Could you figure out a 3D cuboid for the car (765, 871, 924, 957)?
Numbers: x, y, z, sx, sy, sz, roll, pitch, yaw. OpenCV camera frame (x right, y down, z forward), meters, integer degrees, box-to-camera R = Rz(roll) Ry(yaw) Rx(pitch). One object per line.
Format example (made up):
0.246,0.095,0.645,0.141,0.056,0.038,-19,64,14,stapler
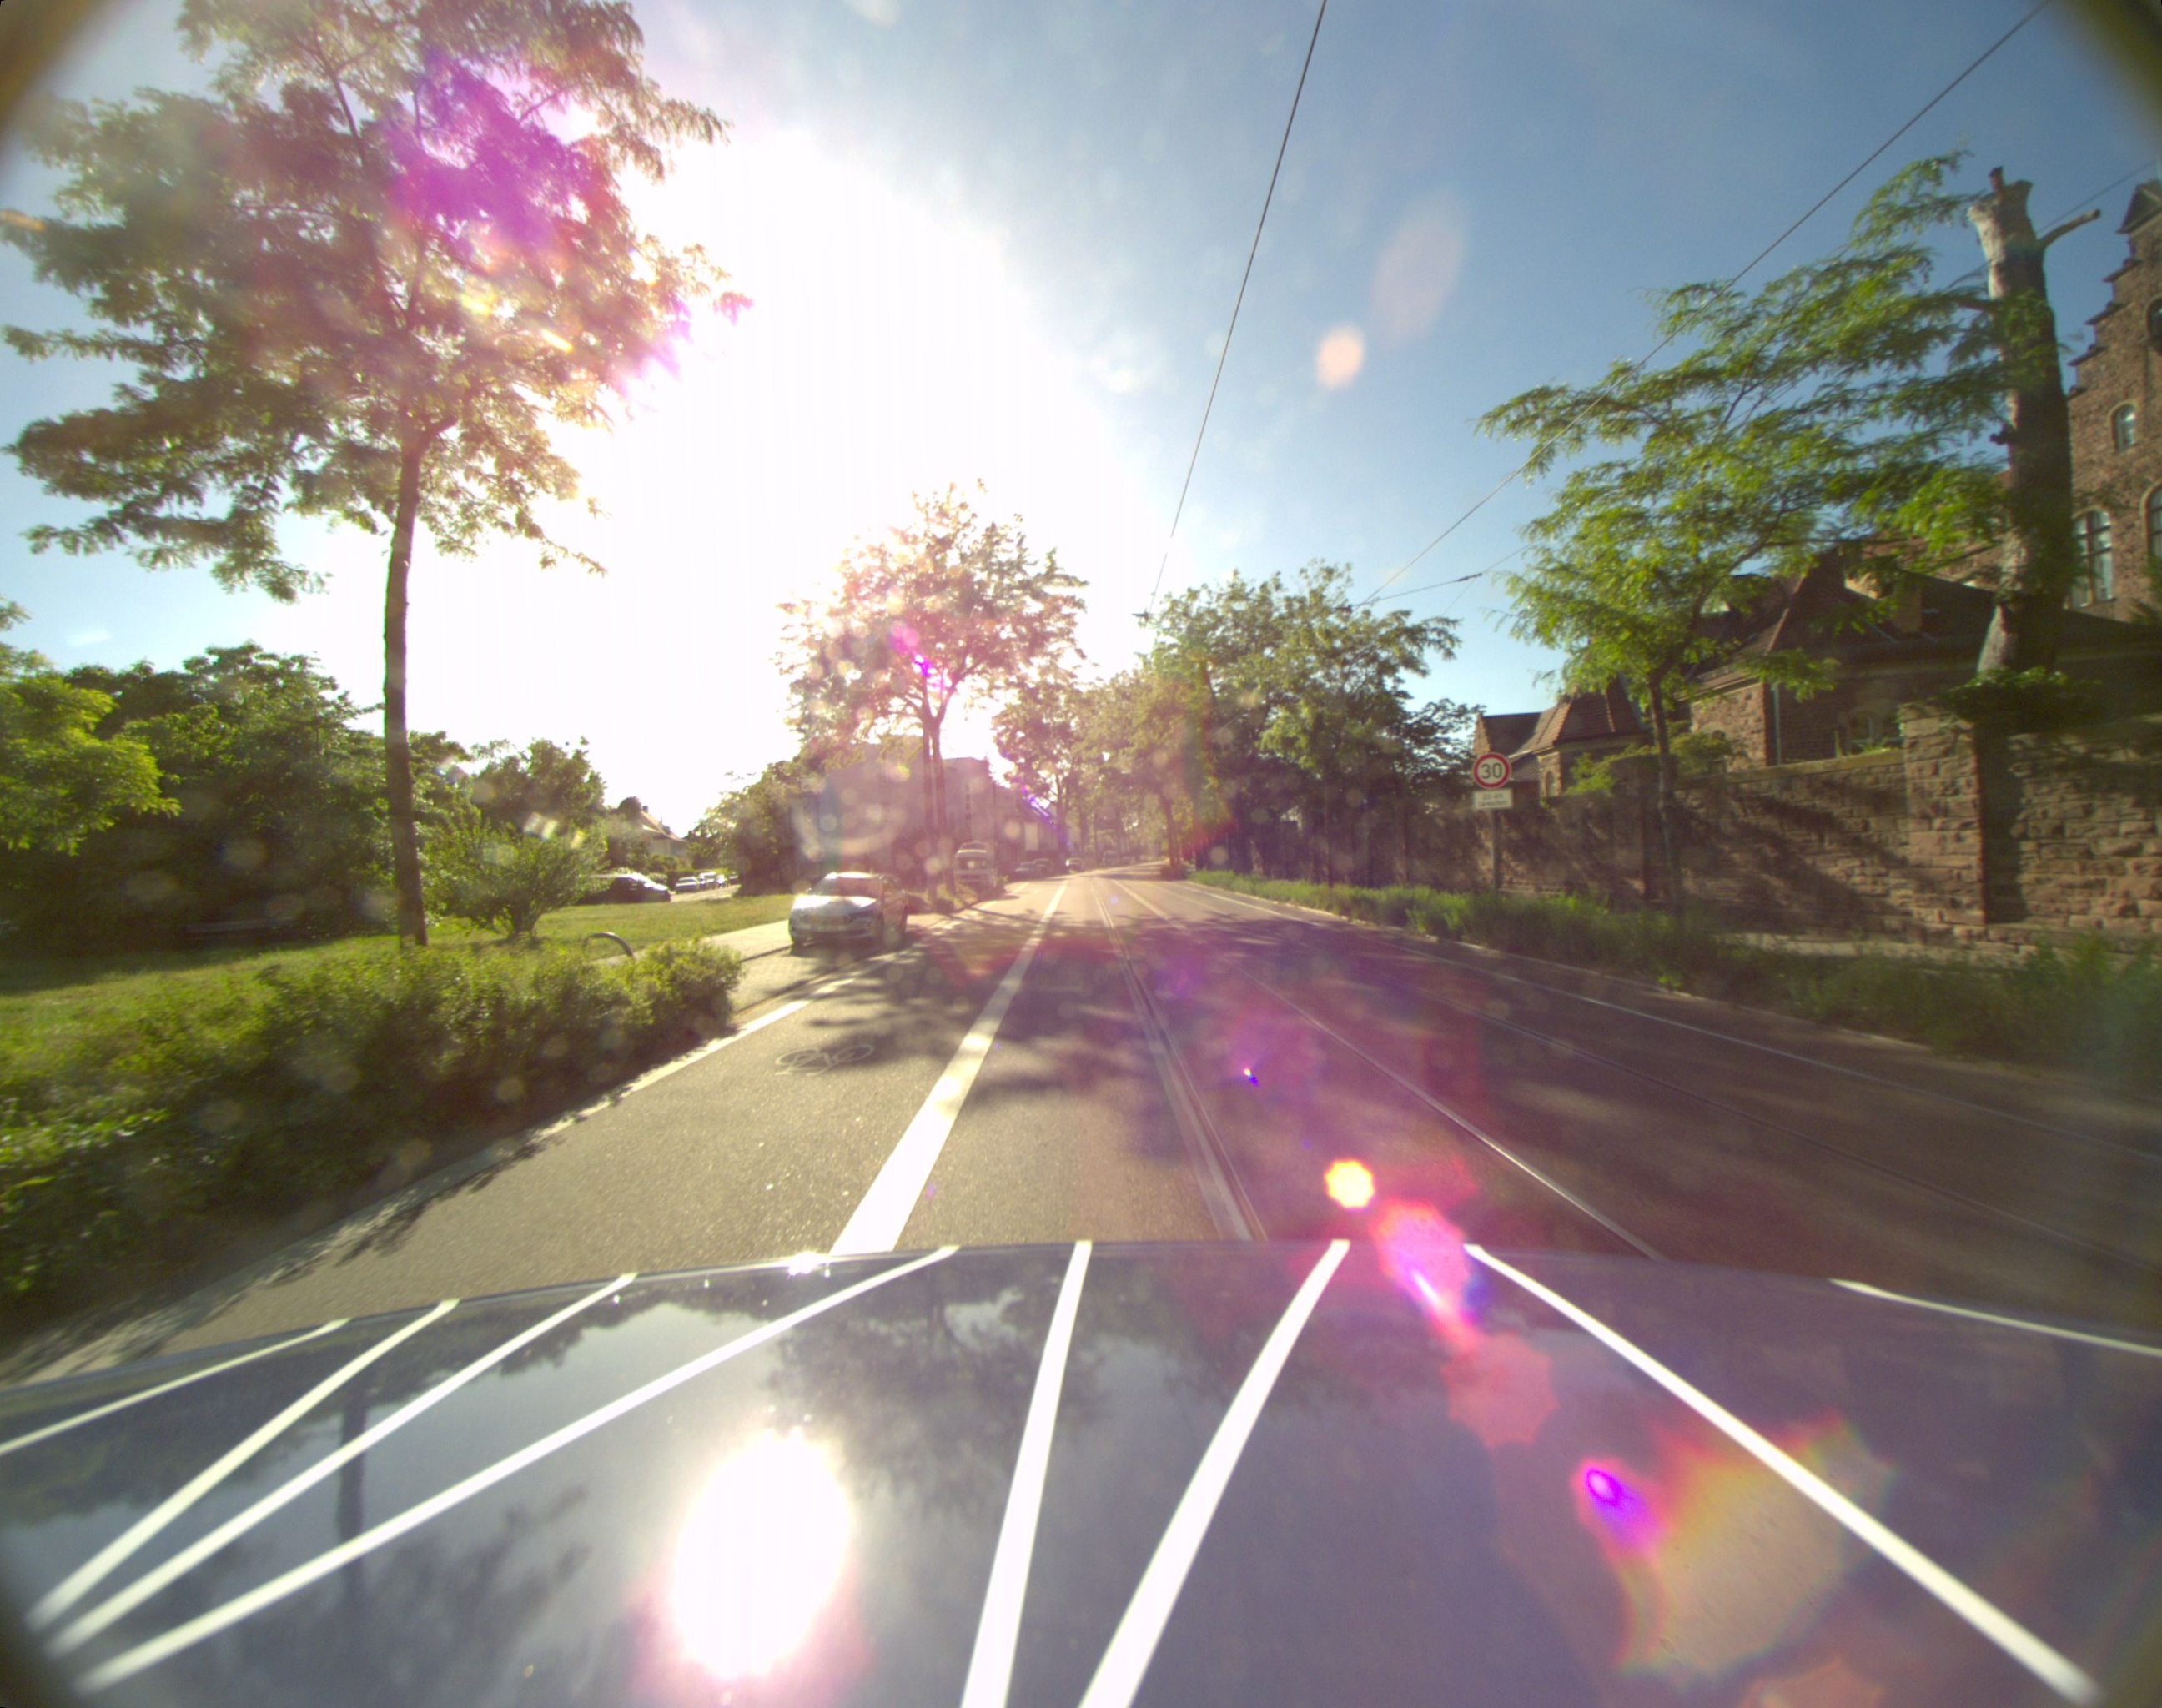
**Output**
-5.107,1.218,17.321,2.006,1.457,5.432,1,0,-1,car

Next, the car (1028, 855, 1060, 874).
-3.484,0.951,71.902,1.997,1.607,4.604,-1,1,10,car

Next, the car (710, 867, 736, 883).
-41.727,2.459,88.563,2.001,1.684,3.994,-3,0,-16,car

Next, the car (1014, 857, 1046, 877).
-4.389,1.098,66.222,1.741,1.487,4.532,-3,0,10,car

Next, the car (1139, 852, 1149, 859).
14.552,0.299,175.059,1.997,1.474,4.003,-2,0,10,car

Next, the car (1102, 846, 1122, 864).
4.987,0.148,121.001,2.295,2.575,5.722,-3,0,10,car

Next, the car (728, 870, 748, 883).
-48.072,3.144,106.558,2.001,1.697,3.994,-3,0,-16,car

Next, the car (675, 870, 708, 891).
-36.300,2.436,70.885,2.001,1.756,4.264,-2,0,-18,car

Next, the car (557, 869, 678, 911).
-25.286,1.915,41.702,5.216,1.874,2.097,-4,1,-18,car

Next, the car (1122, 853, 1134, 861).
8.793,0.544,142.028,1.662,1.527,4.004,-2,0,14,car

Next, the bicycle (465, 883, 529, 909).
-32.217,2.316,41.963,2.667,1.224,0.798,-2,0,-24,bicycle

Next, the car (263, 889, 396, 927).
-37.379,2.660,37.943,4.231,1.583,1.997,-2,0,-15,car

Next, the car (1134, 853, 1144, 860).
12.724,0.507,165.821,1.787,1.368,3.657,-3,0,10,car

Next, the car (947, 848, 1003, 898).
-4.882,0.836,35.640,1.999,2.083,4.715,-2,0,-1,car

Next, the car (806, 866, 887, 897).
-14.030,1.643,45.596,4.466,1.482,2.005,-2,4,-18,car

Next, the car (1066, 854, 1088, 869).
-0.454,0.843,89.109,1.879,1.509,4.651,-3,0,8,car
